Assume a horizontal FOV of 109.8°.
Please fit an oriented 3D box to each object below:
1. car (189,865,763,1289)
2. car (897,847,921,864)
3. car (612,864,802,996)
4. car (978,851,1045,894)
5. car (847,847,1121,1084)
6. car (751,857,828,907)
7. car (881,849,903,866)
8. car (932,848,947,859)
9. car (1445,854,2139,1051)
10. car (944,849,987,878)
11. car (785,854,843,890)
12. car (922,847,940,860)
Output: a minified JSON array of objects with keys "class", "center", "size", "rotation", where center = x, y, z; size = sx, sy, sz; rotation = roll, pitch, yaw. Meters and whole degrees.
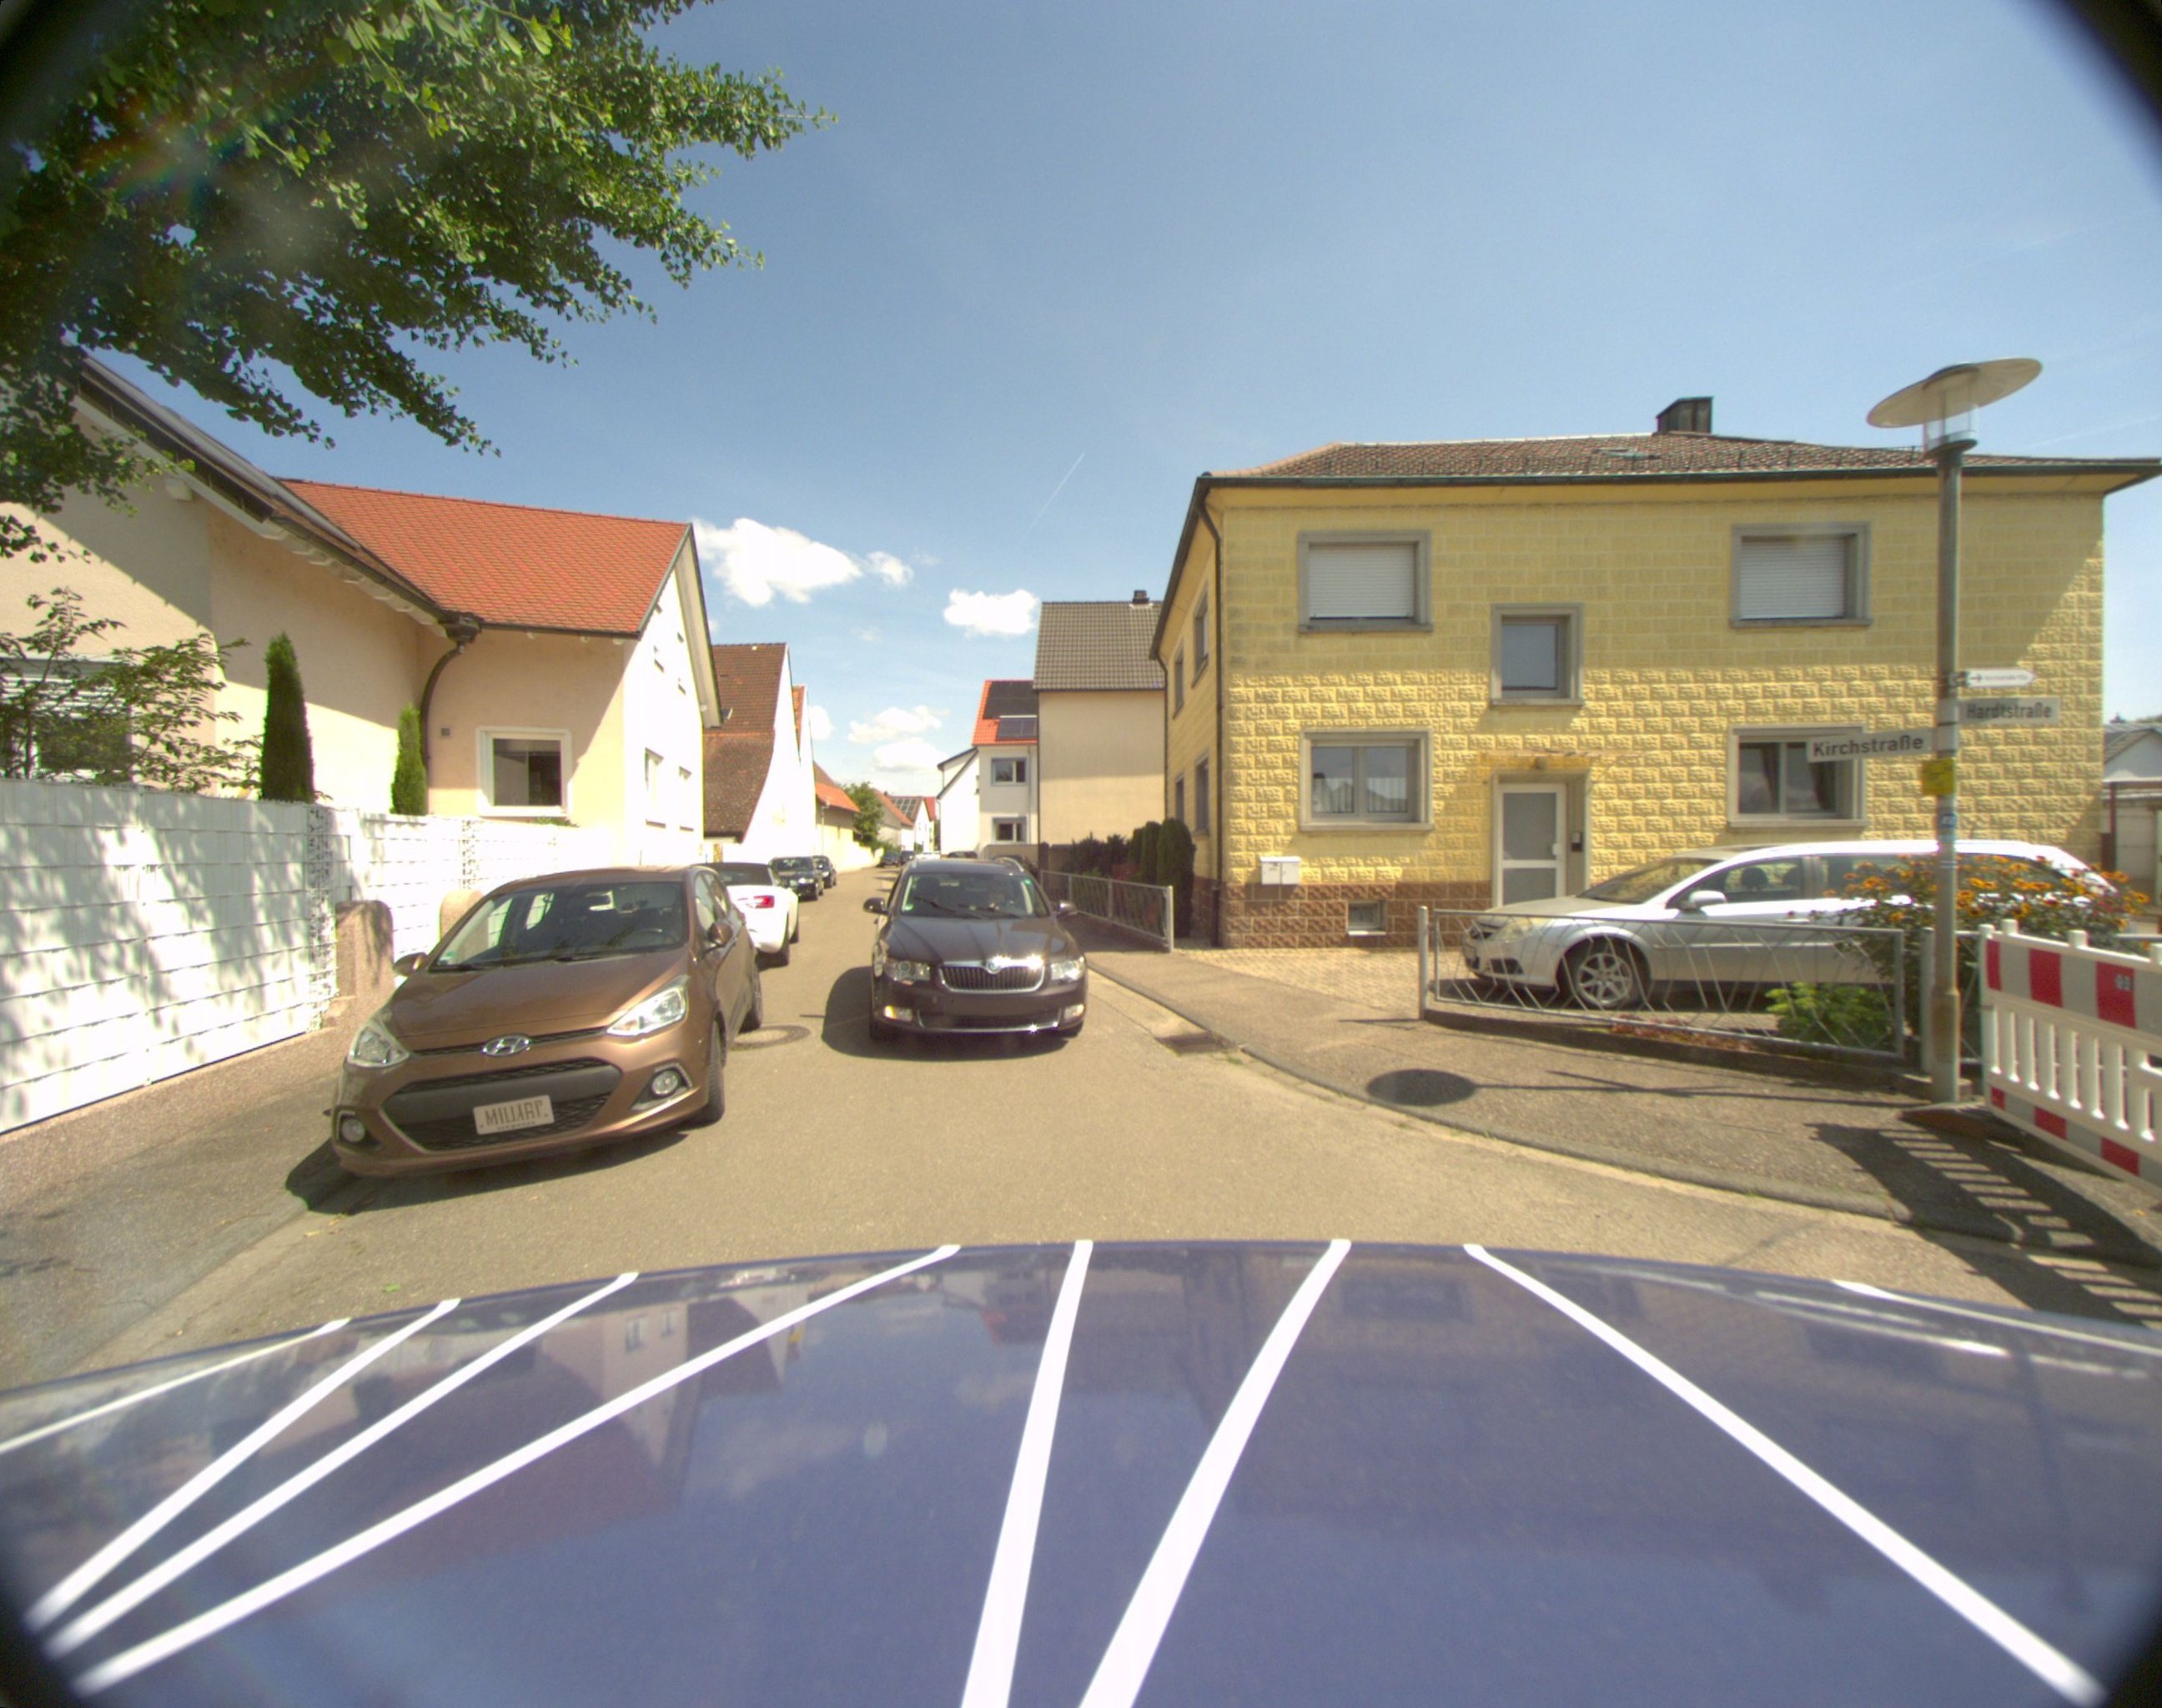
[{"class":"car","center":[-3.374,0.952,5.291],"size":[1.719,1.524,4.028],"rotation":[-4,2,-18]},{"class":"car","center":[-17.939,0.087,79.524],"size":[1.785,1.600,3.997],"rotation":[-3,1,-5]},{"class":"car","center":[-5.366,0.939,11.558],"size":[1.903,1.420,4.729],"rotation":[-1,1,-18]},{"class":"car","center":[-2.529,0.651,28.546],"size":[1.773,1.342,4.469],"rotation":[-2,1,4]},{"class":"car","center":[-1.218,0.879,7.430],"size":[1.787,1.526,4.705],"rotation":[4,-3,-15]},{"class":"car","center":[-9.476,0.837,25.049],"size":[1.903,1.357,4.730],"rotation":[-1,1,-15]},{"class":"car","center":[-17.473,0.326,70.458],"size":[1.786,1.471,3.995],"rotation":[0,1,-11]},{"class":"car","center":[-20.851,-0.075,112.119],"size":[1.785,1.492,4.036],"rotation":[-3,1,-5]},{"class":"car","center":[6.055,0.765,7.149],"size":[4.465,1.477,1.793],"rotation":[0,1,13]},{"class":"car","center":[-6.309,0.496,41.830],"size":[1.641,1.446,3.787],"rotation":[-2,1,2]},{"class":"car","center":[-11.446,0.707,32.777],"size":[1.902,1.357,4.408],"rotation":[-1,1,-14]},{"class":"car","center":[-19.691,-0.102,99.969],"size":[1.785,1.492,4.036],"rotation":[-3,1,-5]}]
